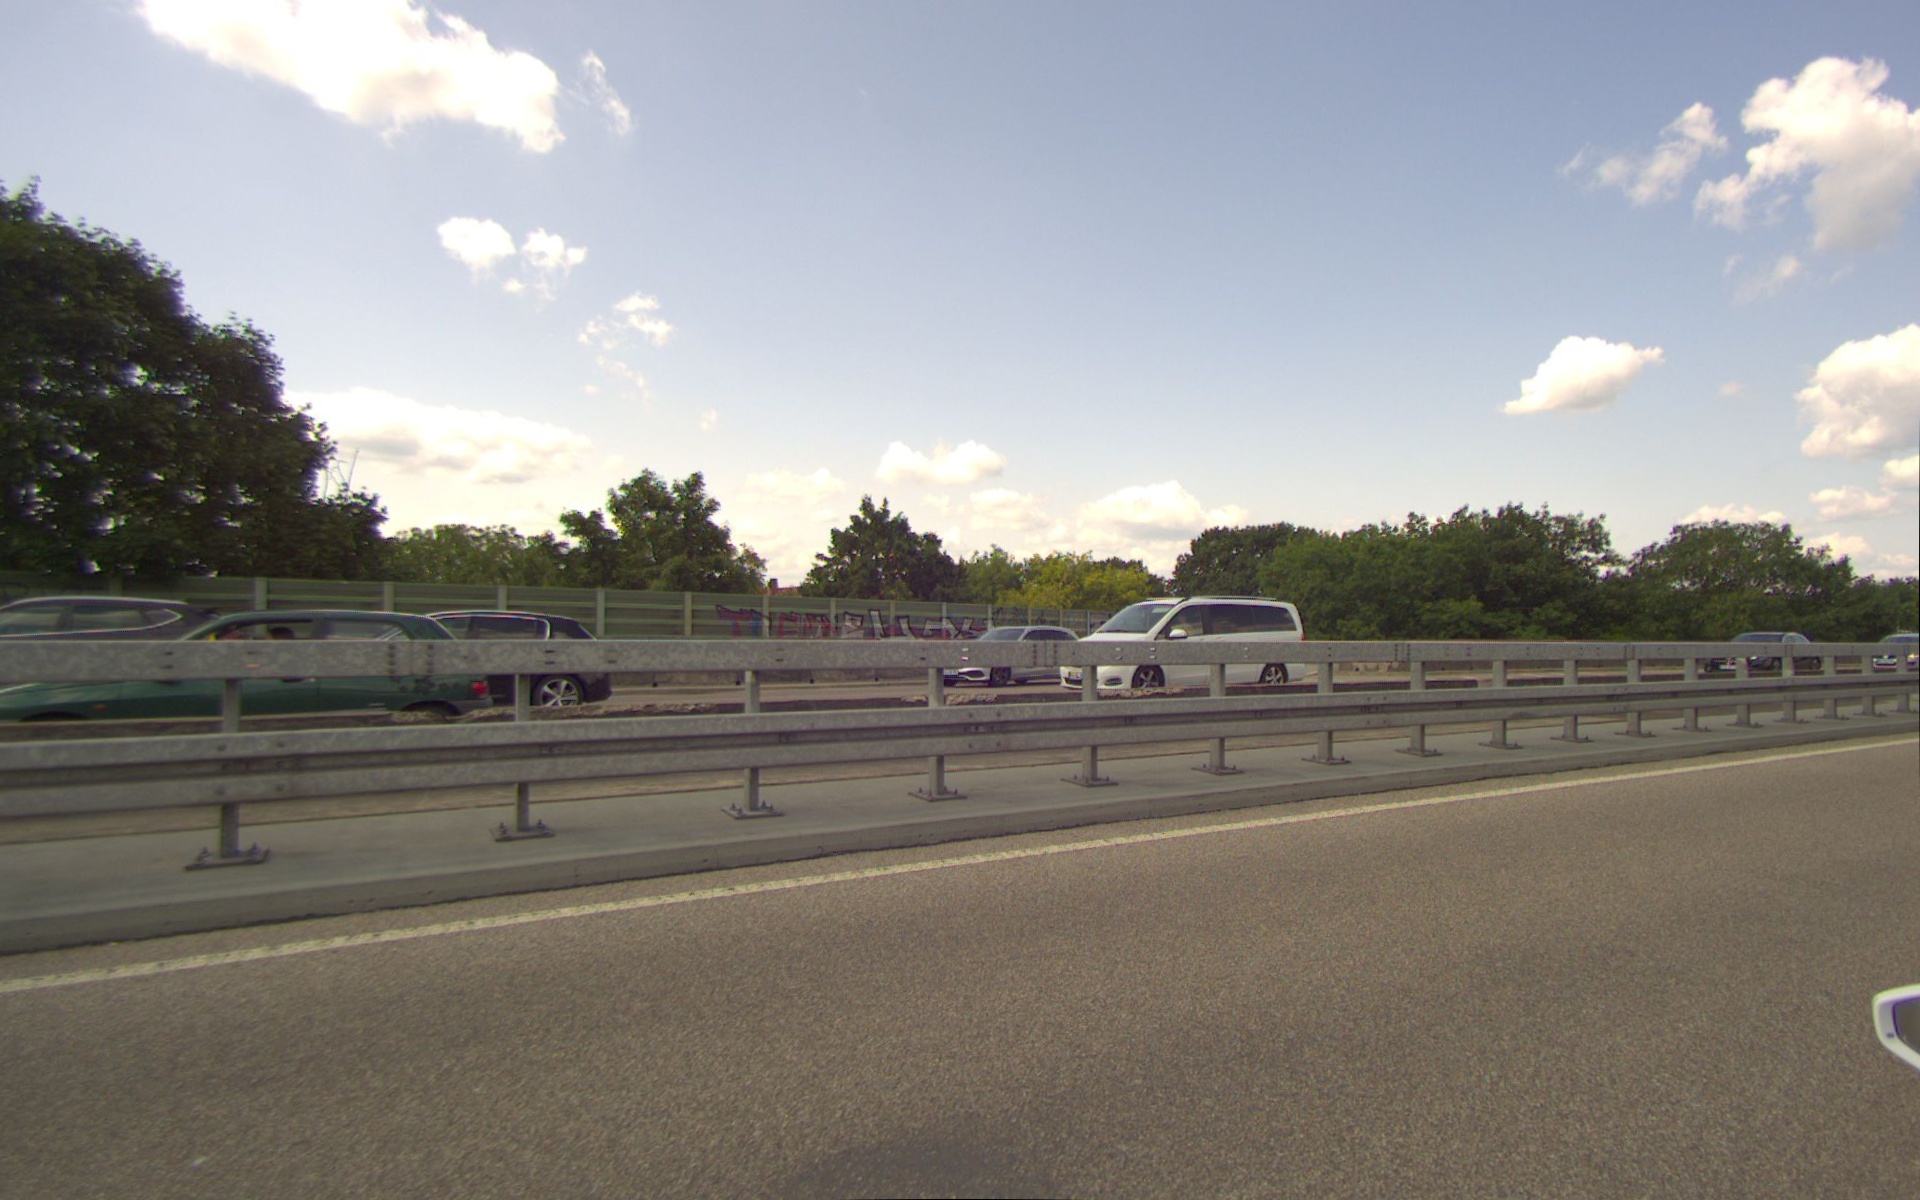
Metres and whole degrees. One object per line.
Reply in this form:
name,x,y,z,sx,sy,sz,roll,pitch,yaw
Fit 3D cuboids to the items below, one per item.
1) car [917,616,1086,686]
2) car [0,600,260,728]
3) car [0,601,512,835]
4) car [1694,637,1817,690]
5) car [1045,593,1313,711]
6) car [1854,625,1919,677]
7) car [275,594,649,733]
car,1.098,1.321,25.028,1.904,1.594,4.259,-5,-6,43
car,-12.142,0.809,13.579,4.235,1.595,1.913,1,0,-32
car,-6.013,0.852,8.715,3.699,1.644,1.718,0,1,-32
car,24.935,1.936,31.451,4.002,1.408,1.774,0,1,-32
car,4.262,0.894,19.223,5.135,1.951,1.948,0,2,-33
car,35.444,1.872,37.752,4.361,1.734,1.573,0,1,-32
car,-6.537,0.799,13.440,4.197,1.594,1.914,2,-2,-31
